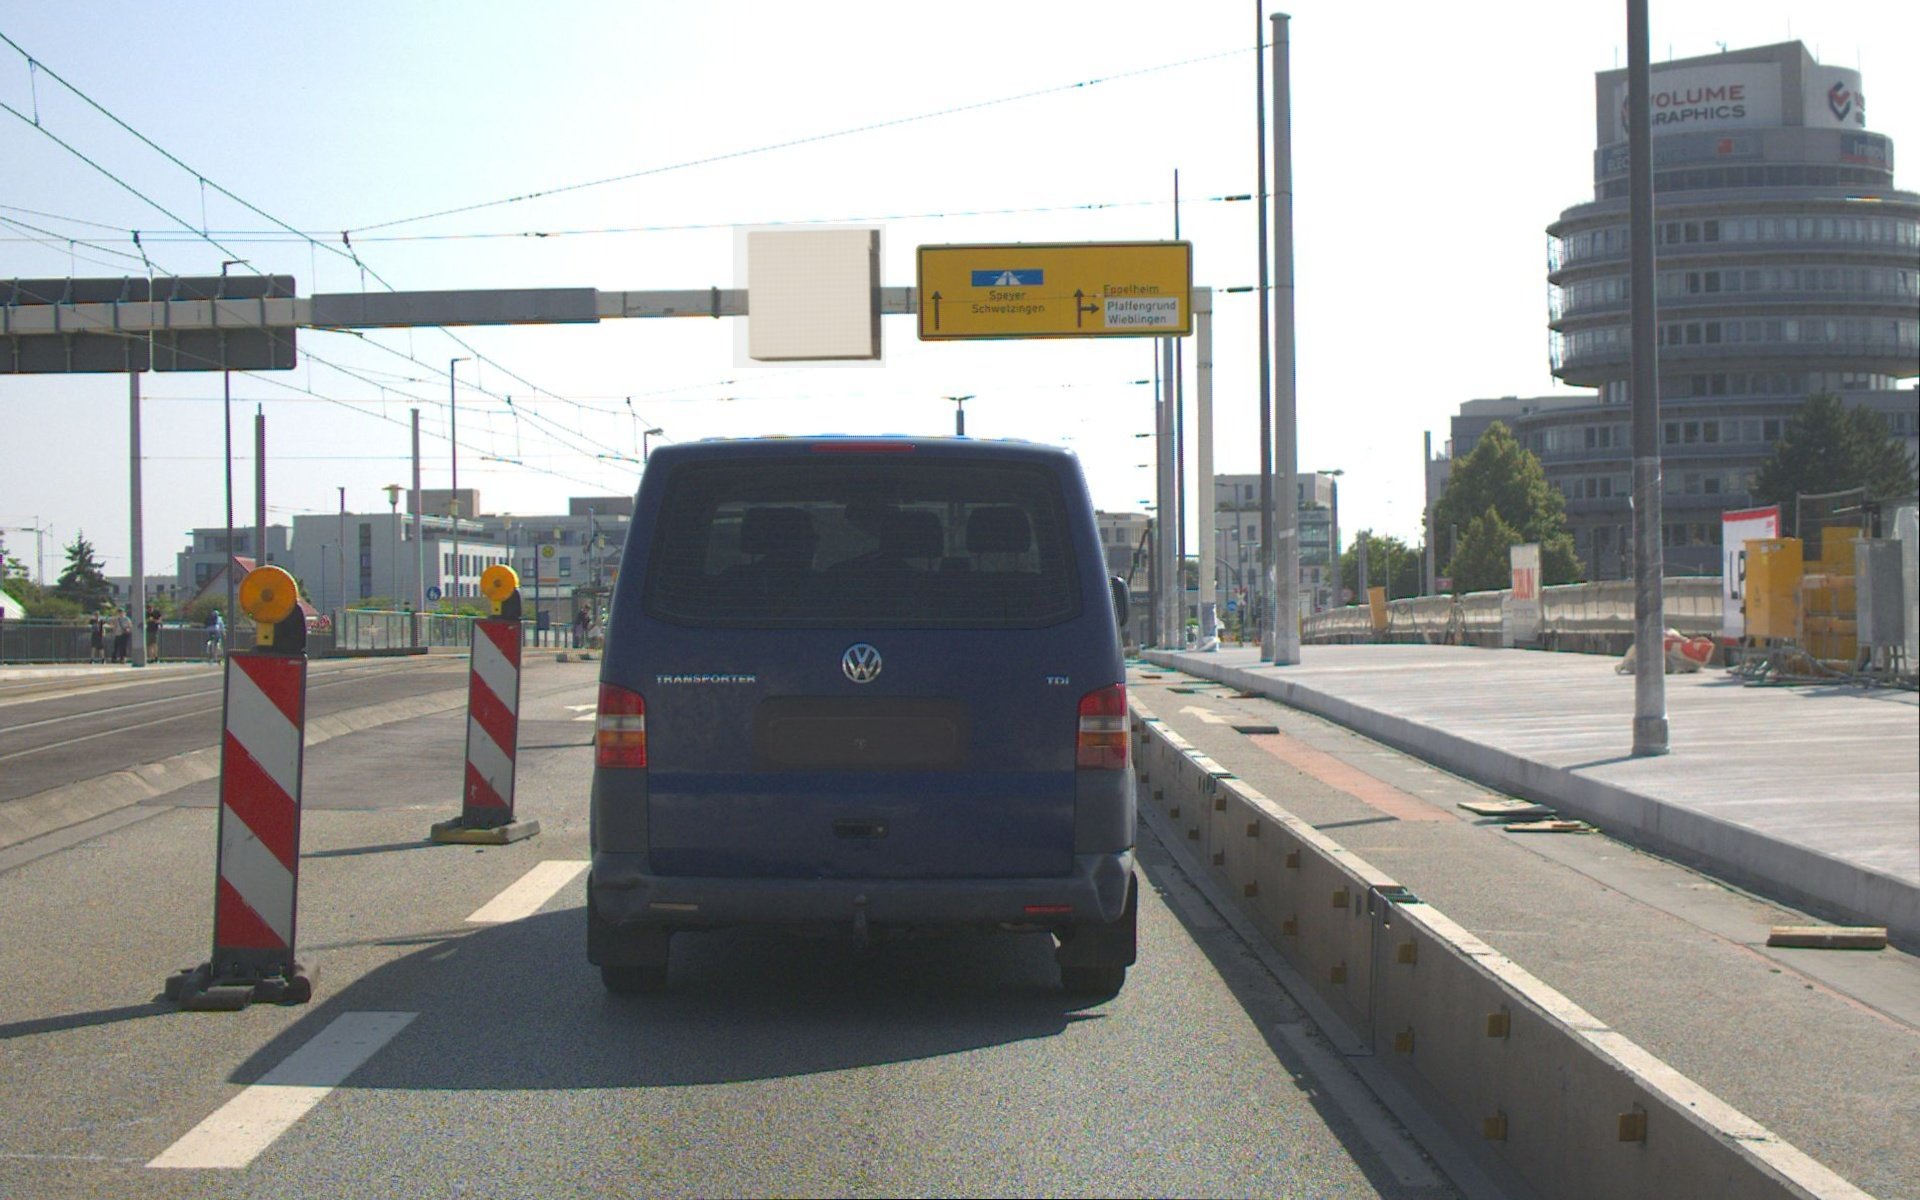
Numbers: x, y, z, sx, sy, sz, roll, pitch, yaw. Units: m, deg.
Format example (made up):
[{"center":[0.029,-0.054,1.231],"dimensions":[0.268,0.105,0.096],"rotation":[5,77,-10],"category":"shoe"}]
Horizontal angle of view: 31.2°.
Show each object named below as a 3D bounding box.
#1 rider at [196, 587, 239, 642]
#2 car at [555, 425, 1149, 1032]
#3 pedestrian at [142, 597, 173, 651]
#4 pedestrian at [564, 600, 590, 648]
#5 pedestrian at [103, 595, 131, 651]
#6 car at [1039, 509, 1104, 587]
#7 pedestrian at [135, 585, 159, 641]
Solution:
[{"center":[-23.346,0.447,108.189],"dimensions":[0.763,1.727,2.951],"rotation":[0,0,-1],"category":"rider"},{"center":[-0.367,0.416,13.111],"dimensions":[1.888,1.927,4.000],"rotation":[1,0,-1],"category":"car"},{"center":[-25.019,0.738,107.187],"dimensions":[0.753,1.681,0.731],"rotation":[-1,0,3],"category":"pedestrian"},{"center":[-13.258,0.814,119.013],"dimensions":[0.660,1.649,0.739],"rotation":[-1,-1,14],"category":"pedestrian"},{"center":[-25.560,0.692,104.230],"dimensions":[0.597,1.681,0.817],"rotation":[-1,0,3],"category":"pedestrian"},{"center":[4.193,-1.931,129.933],"dimensions":[2.339,2.877,5.970],"rotation":[1,0,1],"category":"car"},{"center":[-24.756,0.396,104.696],"dimensions":[0.486,1.681,0.808],"rotation":[-1,0,3],"category":"pedestrian"}]
